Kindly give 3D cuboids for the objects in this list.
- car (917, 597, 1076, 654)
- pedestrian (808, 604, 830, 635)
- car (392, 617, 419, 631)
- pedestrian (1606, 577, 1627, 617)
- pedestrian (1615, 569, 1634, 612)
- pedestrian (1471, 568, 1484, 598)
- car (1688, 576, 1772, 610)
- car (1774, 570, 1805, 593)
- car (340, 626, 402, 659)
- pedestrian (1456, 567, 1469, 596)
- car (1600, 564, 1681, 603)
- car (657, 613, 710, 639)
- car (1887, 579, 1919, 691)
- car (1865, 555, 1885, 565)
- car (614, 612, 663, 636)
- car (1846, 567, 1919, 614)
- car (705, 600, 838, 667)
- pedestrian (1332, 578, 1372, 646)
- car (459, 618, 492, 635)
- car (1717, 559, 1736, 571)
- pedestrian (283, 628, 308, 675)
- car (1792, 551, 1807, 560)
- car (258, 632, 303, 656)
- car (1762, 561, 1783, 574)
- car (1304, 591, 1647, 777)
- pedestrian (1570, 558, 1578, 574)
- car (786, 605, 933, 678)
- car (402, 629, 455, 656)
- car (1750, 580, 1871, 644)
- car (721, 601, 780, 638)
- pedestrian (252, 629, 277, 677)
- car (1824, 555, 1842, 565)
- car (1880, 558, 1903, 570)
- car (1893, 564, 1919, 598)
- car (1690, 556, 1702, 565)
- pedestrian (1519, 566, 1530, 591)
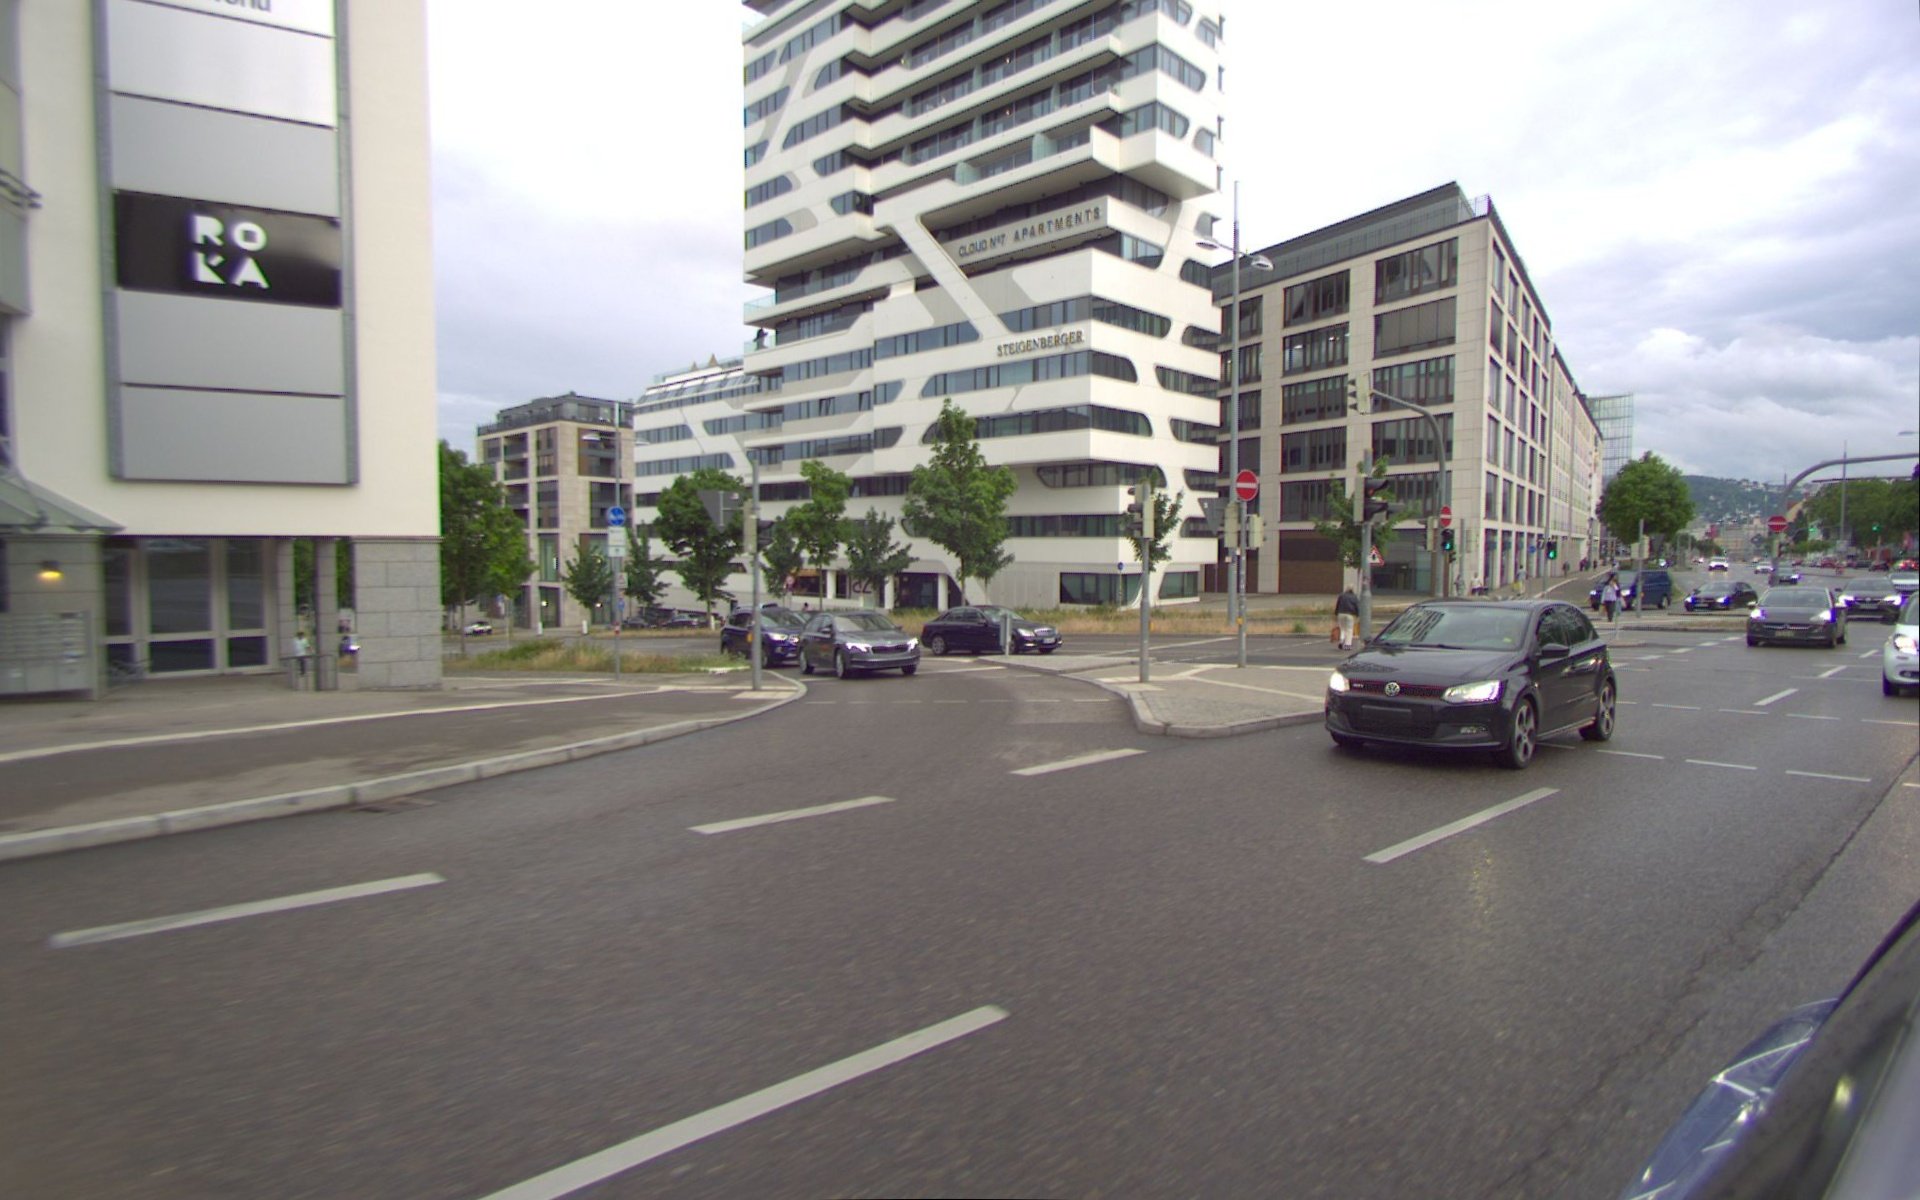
[{"bbox_3d":[0.954,0.728,28.661,1.827,1.408,4.473,-3,0,-44],"label":"car"},{"bbox_3d":[-9.495,1.279,68.067,1.091,2.039,0.958,0,1,42],"label":"pedestrian"},{"bbox_3d":[-67.099,2.864,122.479,1.770,1.529,4.489,-1,1,-44],"label":"car"},{"bbox_3d":[24.573,-0.129,37.893,0.582,1.496,0.599,0,1,27],"label":"pedestrian"},{"bbox_3d":[28.235,-0.397,42.993,0.601,1.825,0.579,0,1,40],"label":"pedestrian"},{"bbox_3d":[28.850,-0.940,56.377,0.583,1.629,0.597,0,1,34],"label":"pedestrian"},{"bbox_3d":[35.962,-0.361,47.256,3.920,1.529,1.802,-1,1,-31],"label":"car"},{"bbox_3d":[72.123,-1.635,88.064,1.788,1.970,3.950,0,1,35],"label":"car"},{"bbox_3d":[-30.569,2.209,52.427,1.770,1.529,4.487,-1,-1,-44],"label":"car"},{"bbox_3d":[28.464,-1.057,57.349,0.583,1.629,0.597,0,1,34],"label":"pedestrian"},{"bbox_3d":[33.807,-0.824,50.253,4.208,1.885,1.801,-1,1,-33],"label":"car"},{"bbox_3d":[-21.248,1.964,77.761,4.482,1.764,1.773,1,1,42],"label":"car"},{"bbox_3d":[15.200,0.468,15.010,3.932,1.556,1.797,-1,1,-42],"label":"car"},{"bbox_3d":[139.396,-6.074,154.175,1.788,1.529,3.950,0,1,35],"label":"car"},{"bbox_3d":[-26.011,1.936,81.740,4.482,1.764,1.773,1,1,42],"label":"car"},{"bbox_3d":[34.792,-0.379,37.982,3.930,1.687,1.797,-1,1,-41],"label":"car"},{"bbox_3d":[-5.501,0.951,29.110,1.824,1.689,4.480,-3,0,-39],"label":"car"},{"bbox_3d":[9.674,0.283,24.997,0.633,1.645,0.707,-1,1,-41],"label":"pedestrian"},{"bbox_3d":[-51.248,2.792,107.026,1.770,1.529,4.489,-1,1,-44],"label":"car"},{"bbox_3d":[101.302,-4.577,133.735,1.788,1.529,3.950,0,1,35],"label":"car"},{"bbox_3d":[-24.745,1.915,37.699,0.722,1.673,0.561,-1,1,-38],"label":"pedestrian"},{"bbox_3d":[150.712,-7.916,181.669,1.788,1.529,3.950,0,1,35],"label":"car"},{"bbox_3d":[-45.923,2.973,68.368,1.770,1.530,4.487,-1,-1,-44],"label":"car"},{"bbox_3d":[98.245,-3.962,122.399,1.788,1.529,3.950,0,1,35],"label":"car"},{"bbox_3d":[5.075,0.633,9.760,3.782,1.417,1.676,-1,1,-41],"label":"car"},{"bbox_3d":[59.998,-3.329,98.911,0.584,1.496,0.597,0,1,35],"label":"pedestrian"},{"bbox_3d":[-2.414,0.885,23.147,1.819,1.407,4.491,-3,0,-26],"label":"car"},{"bbox_3d":[-32.032,2.573,60.933,1.770,1.530,3.989,-1,-1,-44],"label":"car"},{"bbox_3d":[21.145,0.240,25.121,3.642,1.459,1.750,-1,1,-41],"label":"car"},{"bbox_3d":[-14.661,1.339,70.719,4.482,2.409,1.773,1,1,42],"label":"car"},{"bbox_3d":[-25.478,1.929,37.079,0.722,1.673,0.561,-1,1,-38],"label":"pedestrian"},{"bbox_3d":[141.832,-6.544,164.425,1.788,1.529,3.950,0,1,35],"label":"car"},{"bbox_3d":[127.793,-4.902,138.926,1.788,1.529,3.950,0,1,35],"label":"car"},{"bbox_3d":[58.099,-1.152,61.479,3.933,2.058,1.796,-1,1,-43],"label":"car"},{"bbox_3d":[134.597,-7.227,185.053,1.788,1.529,3.950,0,1,35],"label":"car"},{"bbox_3d":[34.813,-1.321,62.434,0.582,1.496,0.599,0,1,27],"label":"pedestrian"}]
